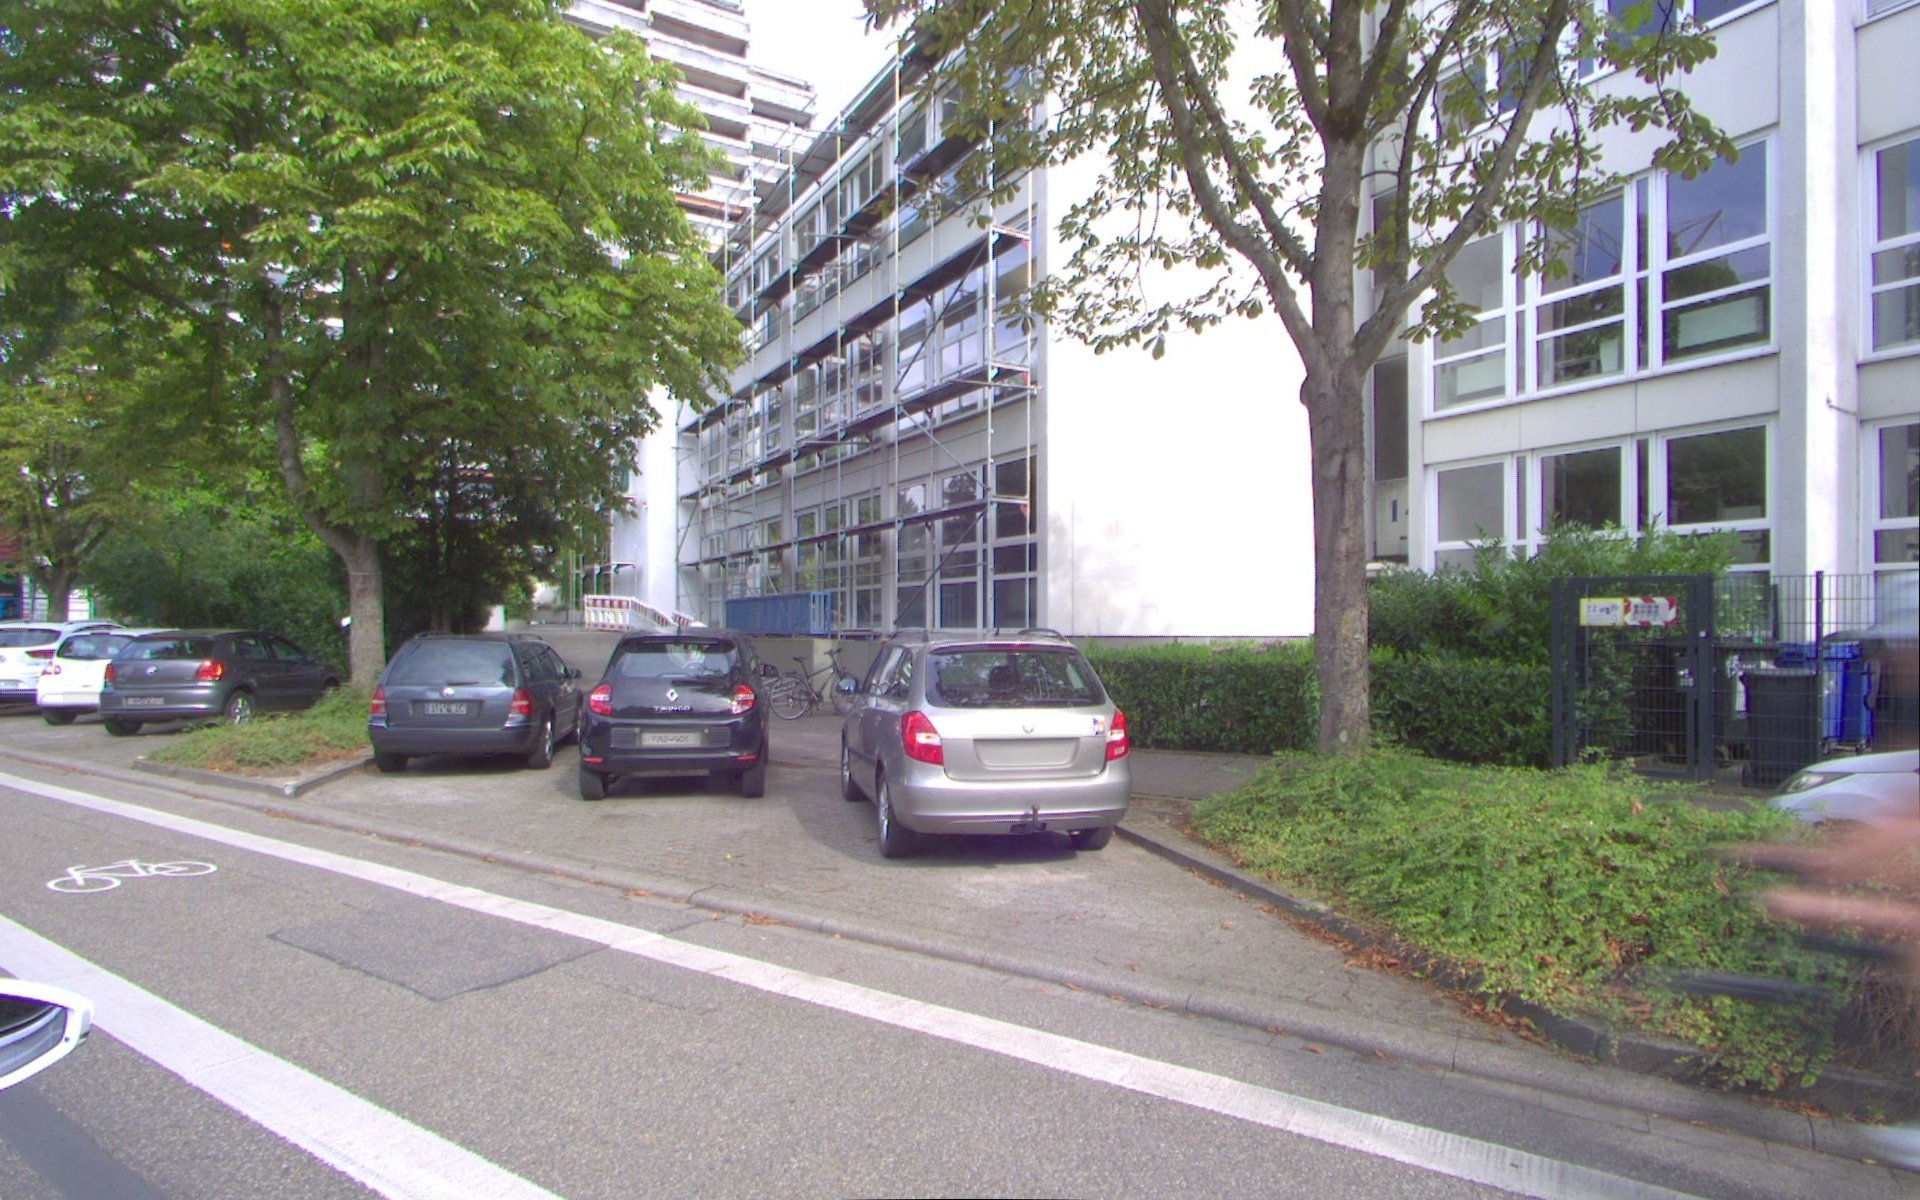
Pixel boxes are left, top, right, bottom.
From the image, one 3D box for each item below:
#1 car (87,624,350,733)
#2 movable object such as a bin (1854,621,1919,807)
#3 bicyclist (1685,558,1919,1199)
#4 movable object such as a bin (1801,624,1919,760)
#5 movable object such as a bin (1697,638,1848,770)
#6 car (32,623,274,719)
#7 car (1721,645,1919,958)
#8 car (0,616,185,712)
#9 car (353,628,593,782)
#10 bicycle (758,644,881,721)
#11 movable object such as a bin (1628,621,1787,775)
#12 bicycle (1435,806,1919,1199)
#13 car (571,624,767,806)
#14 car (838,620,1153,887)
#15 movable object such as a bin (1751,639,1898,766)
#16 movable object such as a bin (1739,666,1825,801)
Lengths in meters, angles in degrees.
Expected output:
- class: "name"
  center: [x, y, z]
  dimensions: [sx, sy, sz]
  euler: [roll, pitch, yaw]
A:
- class: "car"
  center: [-10.998, 1.102, 15.174]
  dimensions: [1.593, 1.461, 3.536]
  euler: [0, -2, -6]
- class: "movable object such as a bin"
  center: [8.525, 0.956, 8.445]
  dimensions: [1.316, 1.527, 1.067]
  euler: [0, -2, 34]
- class: "bicyclist"
  center: [2.248, 0.719, 2.117]
  dimensions: [1.094, 1.590, 0.637]
  euler: [0, -1, 31]
- class: "movable object such as a bin"
  center: [11.275, 1.106, 12.400]
  dimensions: [1.021, 1.582, 1.072]
  euler: [2, -2, -33]
- class: "movable object such as a bin"
  center: [9.134, 1.129, 11.271]
  dimensions: [1.021, 1.385, 1.072]
  euler: [2, -2, -33]
- class: "car"
  center: [-13.435, 1.129, 16.947]
  dimensions: [1.530, 1.461, 3.447]
  euler: [0, -1, -6]
- class: "car"
  center: [5.565, 0.939, 4.031]
  dimensions: [1.611, 1.478, 3.825]
  euler: [1, -2, -14]
- class: "car"
  center: [-16.178, 1.106, 18.328]
  dimensions: [1.530, 1.593, 3.447]
  euler: [0, -1, -6]
- class: "car"
  center: [-5.390, 1.079, 11.581]
  dimensions: [1.610, 1.477, 3.738]
  euler: [1, -2, -12]
- class: "bicycle"
  center: [-2.310, 1.338, 16.566]
  dimensions: [1.943, 1.143, 0.536]
  euler: [-1, 0, -27]
- class: "movable object such as a bin"
  center: [8.033, 1.011, 10.776]
  dimensions: [1.105, 1.542, 1.072]
  euler: [2, -2, -33]
- class: "bicycle"
  center: [2.174, 1.090, 2.154]
  dimensions: [2.041, 0.993, 0.637]
  euler: [0, -1, 31]
- class: "car"
  center: [-2.874, 1.044, 10.468]
  dimensions: [1.610, 1.541, 3.738]
  euler: [1, -2, -12]
- class: "car"
  center: [0.017, 0.963, 7.805]
  dimensions: [1.610, 1.541, 3.738]
  euler: [1, -2, -12]
- class: "movable object such as a bin"
  center: [10.117, 1.162, 11.729]
  dimensions: [1.021, 1.385, 1.072]
  euler: [2, -2, -33]
- class: "movable object such as a bin"
  center: [7.330, 1.160, 8.926]
  dimensions: [0.566, 1.117, 0.647]
  euler: [0, -2, 42]
